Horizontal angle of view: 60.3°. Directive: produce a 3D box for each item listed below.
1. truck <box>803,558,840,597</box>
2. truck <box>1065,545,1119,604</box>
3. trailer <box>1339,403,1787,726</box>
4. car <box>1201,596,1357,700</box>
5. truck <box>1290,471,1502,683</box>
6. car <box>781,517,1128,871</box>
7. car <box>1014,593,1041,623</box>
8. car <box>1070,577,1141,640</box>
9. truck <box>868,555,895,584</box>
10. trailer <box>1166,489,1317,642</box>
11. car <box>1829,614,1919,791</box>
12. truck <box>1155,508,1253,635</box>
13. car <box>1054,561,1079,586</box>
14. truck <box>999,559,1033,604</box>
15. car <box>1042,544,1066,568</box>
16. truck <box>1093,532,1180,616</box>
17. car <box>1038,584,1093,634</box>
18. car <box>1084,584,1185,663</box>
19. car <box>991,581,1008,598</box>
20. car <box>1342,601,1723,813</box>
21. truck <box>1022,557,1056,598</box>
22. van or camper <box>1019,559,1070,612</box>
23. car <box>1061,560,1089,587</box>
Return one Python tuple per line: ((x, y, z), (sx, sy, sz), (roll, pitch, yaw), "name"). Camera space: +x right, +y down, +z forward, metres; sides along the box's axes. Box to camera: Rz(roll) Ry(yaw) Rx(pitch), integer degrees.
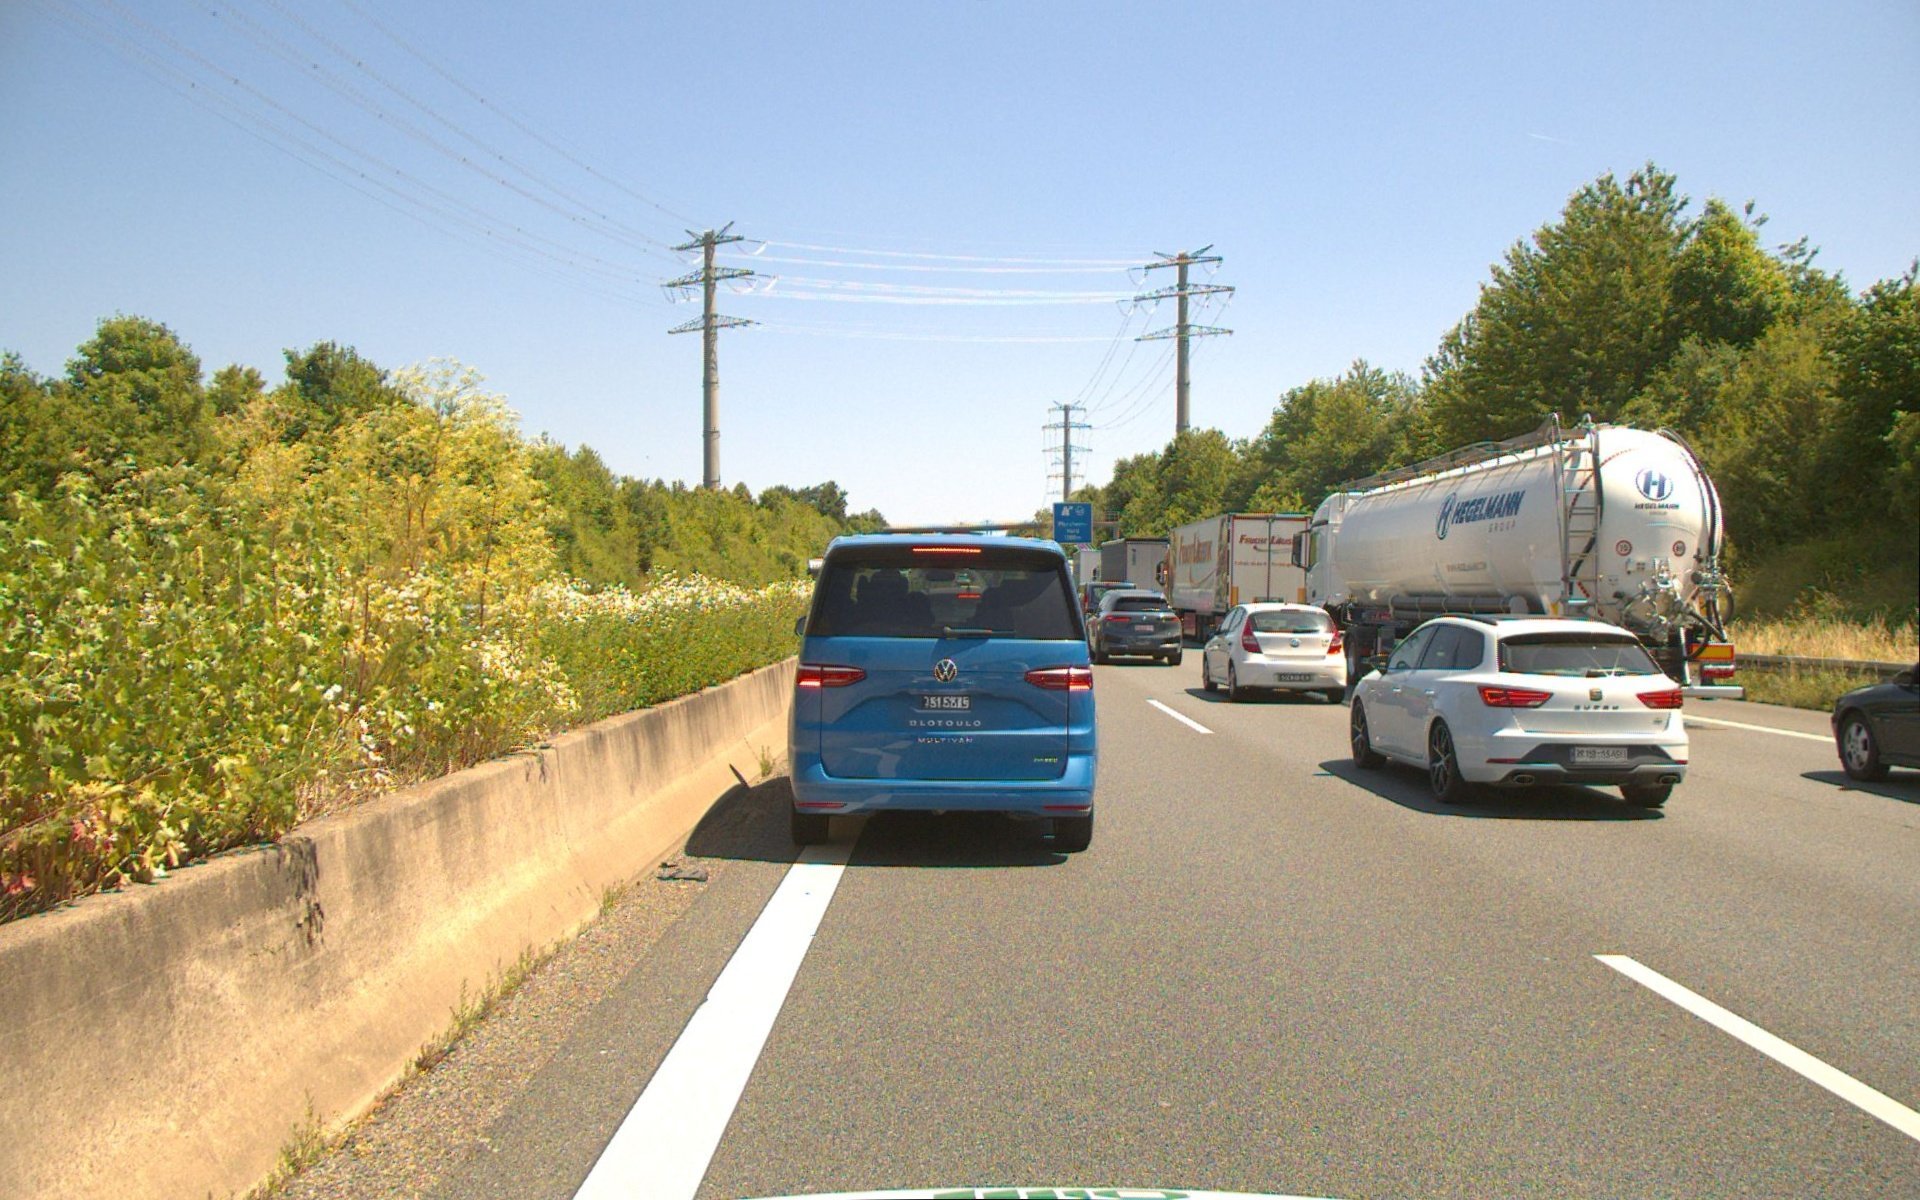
((-14.367, -2.313, 172.524), (2.852, 3.886, 11.943), (1, 0, 0), "truck")
((9.034, -1.643, 114.401), (2.836, 3.832, 13.345), (0, 0, 1), "truck")
((8.688, -0.422, 25.954), (2.705, 3.912, 11.484), (-1, 0, -1), "trailer")
((4.997, 0.737, 26.437), (1.779, 1.511, 4.000), (-1, -1, 1), "car")
((8.641, -0.429, 33.470), (2.736, 3.903, 5.571), (-1, 0, -1), "truck")
((-0.027, 0.511, 11.103), (1.881, 1.919, 4.000), (1, 0, 0), "car")
((4.681, 0.582, 114.989), (1.798, 2.033, 4.000), (-1, -1, 1), "car")
((4.858, 0.302, 55.684), (1.884, 1.959, 4.234), (-2, -1, -1), "car")
((-10.872, -4.159, 229.424), (3.107, 3.886, 11.943), (1, 0, 0), "truck")
((9.217, -1.023, 55.767), (2.853, 4.547, 12.152), (-1, 0, -1), "trailer")
((8.693, 0.825, 13.015), (1.607, 1.441, 3.989), (-2, -1, 1), "car")
((9.151, -1.033, 62.480), (2.853, 4.547, 5.142), (-1, 0, -1), "truck")
((9.060, -2.261, 141.042), (1.952, 2.049, 4.000), (0, 0, 0), "car")
((4.943, -1.590, 147.339), (2.836, 3.832, 10.140), (0, 0, 1), "truck")
((8.632, -4.037, 151.694), (1.952, 2.049, 4.000), (0, 0, 0), "car")
((8.704, -1.132, 83.539), (2.944, 3.832, 15.713), (0, 0, 1), "truck")
((4.287, 0.388, 67.862), (1.884, 1.959, 4.234), (-2, -1, -1), "car")
((4.085, 0.555, 39.454), (1.958, 1.745, 4.625), (-1, -1, 1), "car")
((5.002, -1.304, 208.636), (1.953, 2.163, 3.999), (0, 0, -1), "car")
((4.527, 0.784, 13.800), (1.711, 1.468, 4.313), (-1, -1, 1), "car")
((9.385, -2.625, 196.881), (3.493, 4.596, 10.291), (0, 0, -1), "truck")
((5.029, -0.799, 99.470), (2.896, 3.075, 7.103), (0, 0, 1), "van or camper")
((9.118, -2.092, 131.299), (1.952, 2.049, 4.000), (0, 0, 0), "car")
